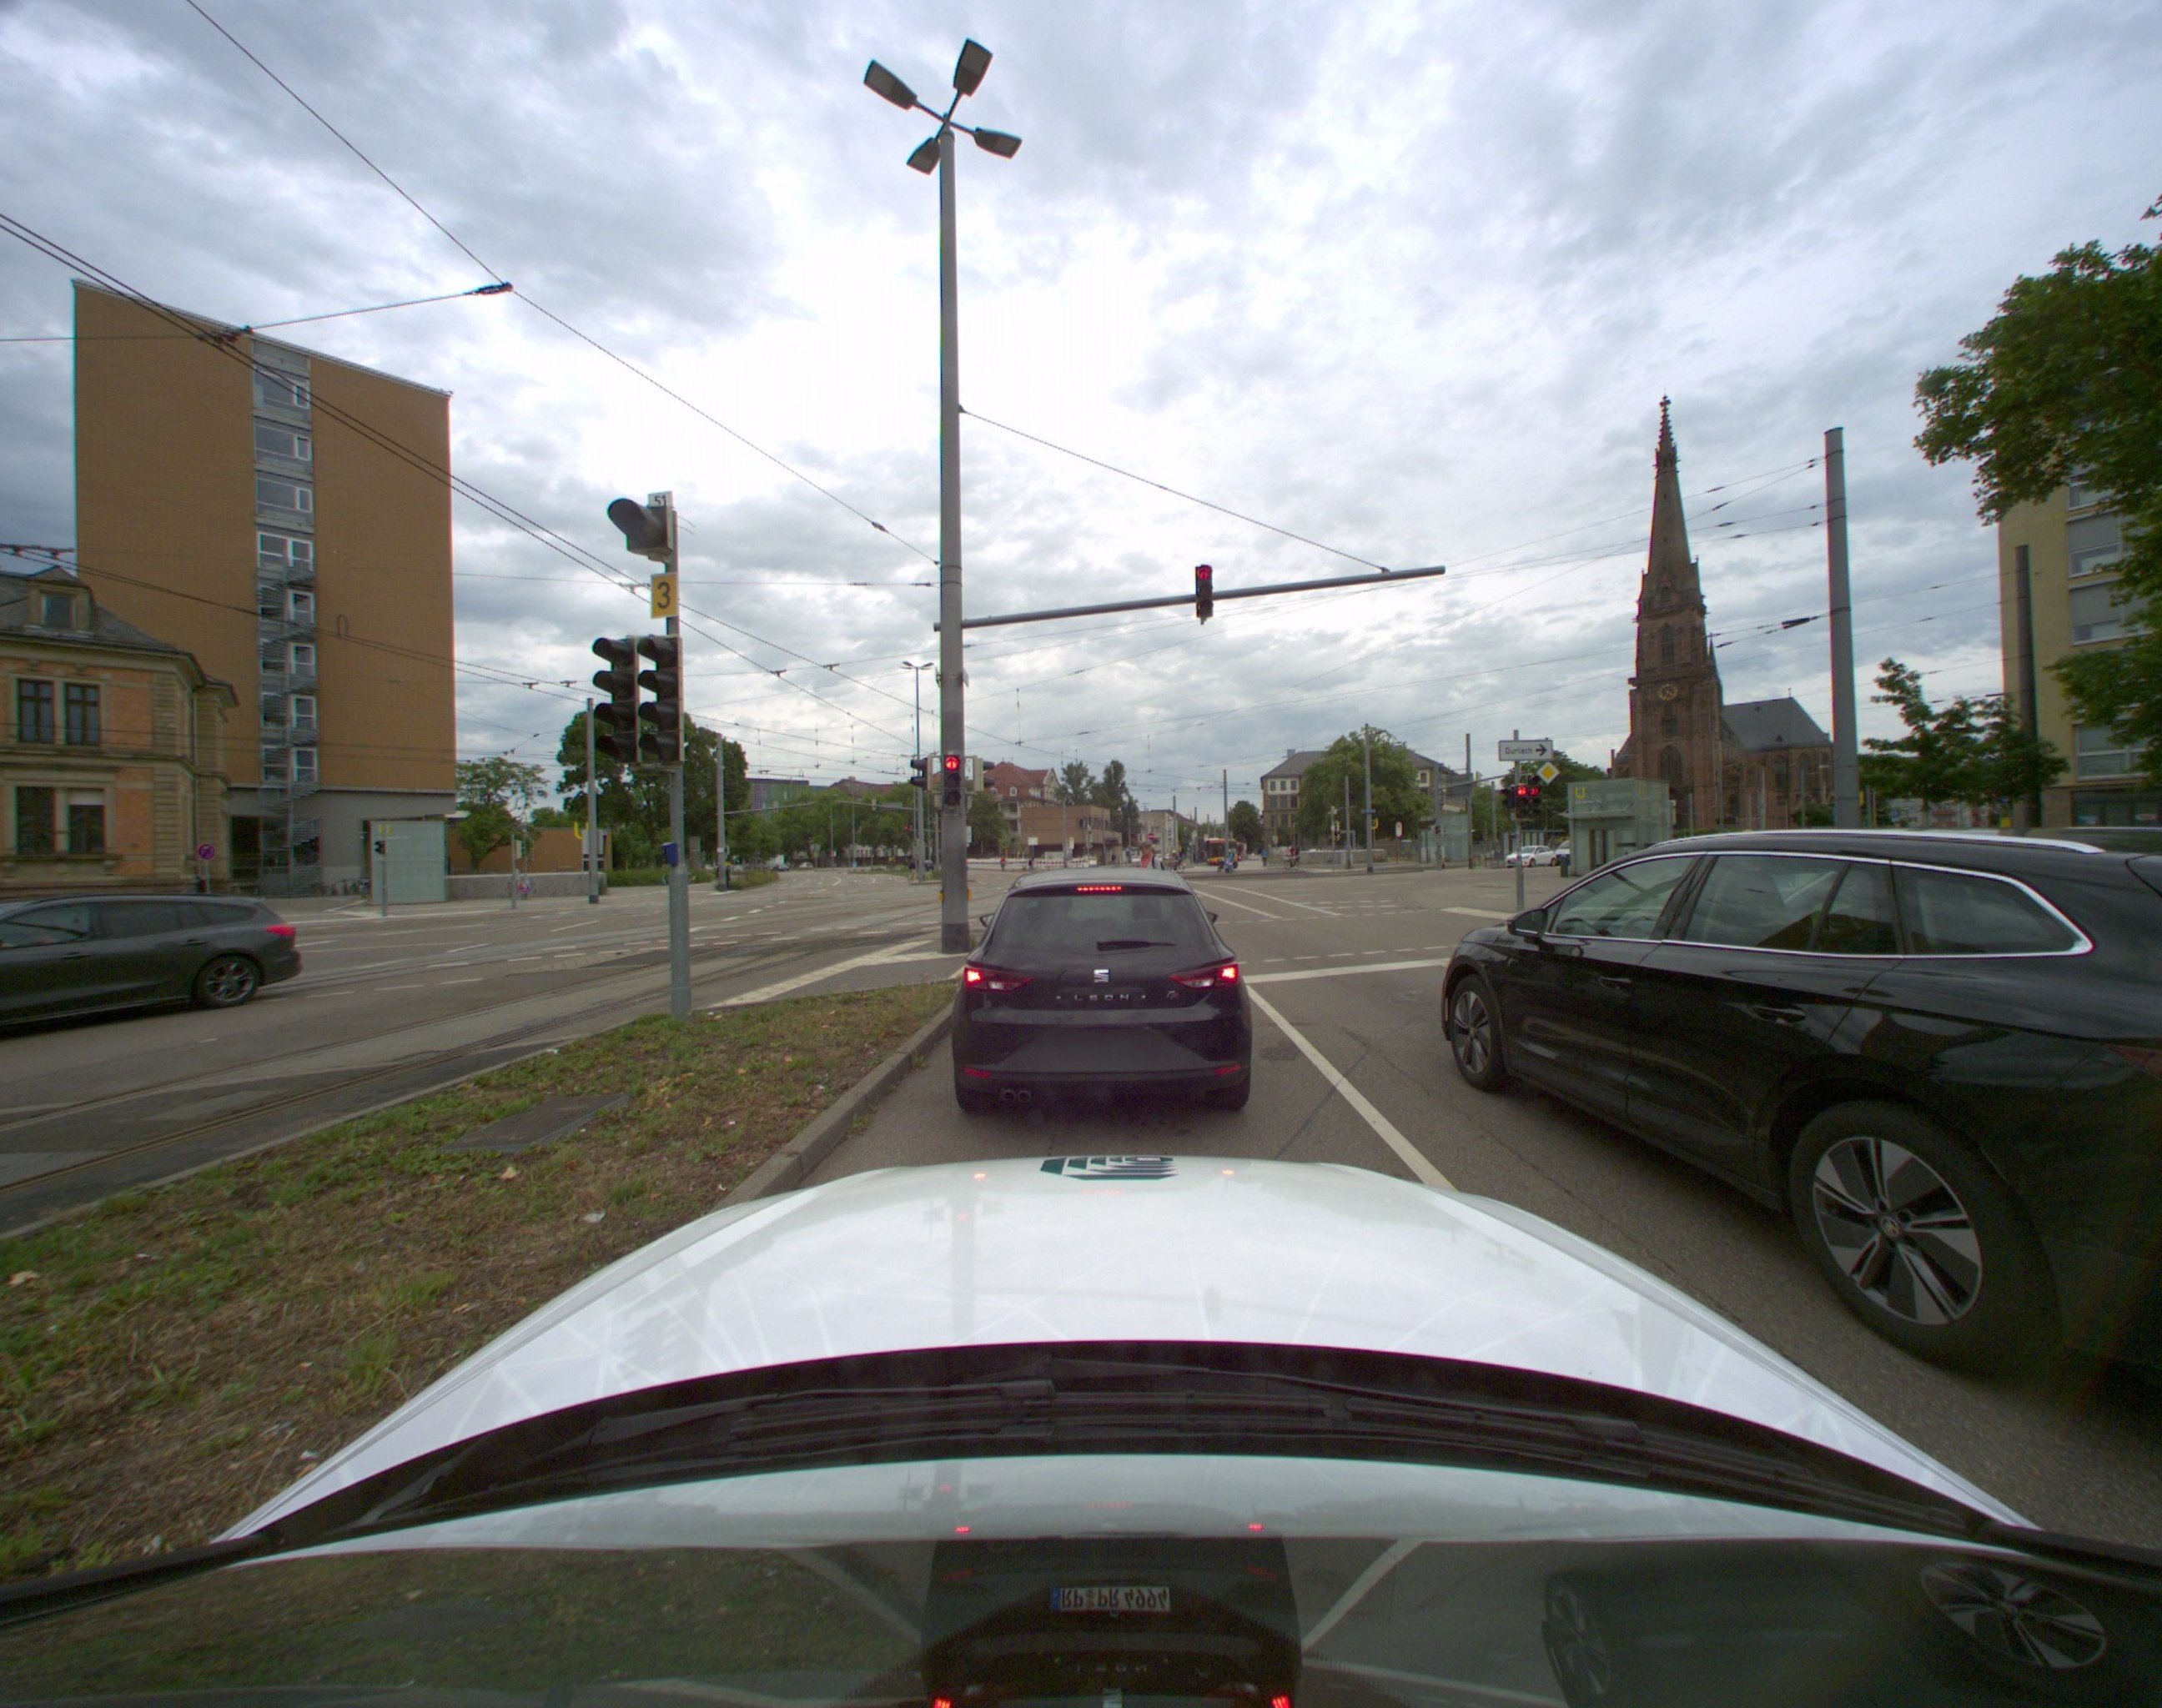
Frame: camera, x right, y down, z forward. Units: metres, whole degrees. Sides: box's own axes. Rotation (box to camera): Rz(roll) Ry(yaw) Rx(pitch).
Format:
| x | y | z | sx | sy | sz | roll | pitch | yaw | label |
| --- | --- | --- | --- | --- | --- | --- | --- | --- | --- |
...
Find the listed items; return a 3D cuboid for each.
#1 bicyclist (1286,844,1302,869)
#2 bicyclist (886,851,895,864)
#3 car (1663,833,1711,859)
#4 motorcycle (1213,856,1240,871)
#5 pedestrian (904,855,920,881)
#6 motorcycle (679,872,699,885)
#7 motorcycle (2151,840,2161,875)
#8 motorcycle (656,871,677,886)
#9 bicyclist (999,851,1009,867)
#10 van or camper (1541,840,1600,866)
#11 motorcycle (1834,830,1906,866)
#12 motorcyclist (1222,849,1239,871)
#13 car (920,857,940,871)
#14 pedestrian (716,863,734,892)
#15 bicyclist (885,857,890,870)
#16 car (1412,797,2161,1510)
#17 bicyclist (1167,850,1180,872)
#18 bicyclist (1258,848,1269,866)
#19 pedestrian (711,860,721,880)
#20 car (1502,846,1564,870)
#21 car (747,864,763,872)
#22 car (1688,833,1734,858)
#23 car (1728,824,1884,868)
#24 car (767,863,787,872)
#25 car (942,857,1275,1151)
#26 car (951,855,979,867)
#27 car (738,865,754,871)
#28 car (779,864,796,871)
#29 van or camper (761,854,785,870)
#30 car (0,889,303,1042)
| x | y | z | sx | sy | sz | roll | pitch | yaw | label |
| --- | --- | --- | --- | --- | --- | --- | --- | --- | --- |
| 16.330 | 0.194 | 62.446 | 1.003 | 1.898 | 0.768 | -1 | -1 | -44 | bicyclist |
| -31.106 | 0.588 | 132.763 | 0.928 | 2.013 | 0.984 | -2 | 0 | 30 | bicyclist |
| 49.706 | -0.630 | 66.751 | 4.017 | 2.013 | 1.978 | -1 | 0 | -36 | car |
| 11.343 | 0.736 | 63.399 | 2.149 | 1.139 | 0.737 | -1 | 0 | -31 | motorcycle |
| -12.675 | 1.057 | 61.158 | 1.032 | 1.934 | 0.695 | -2 | 0 | -24 | pedestrian |
| -34.419 | 2.157 | 71.509 | 0.506 | 1.111 | 1.751 | -2 | 0 | 15 | motorcycle |
| 31.985 | 0.098 | 23.710 | 1.021 | 0.997 | 0.863 | -1 | 0 | -45 | motorcycle |
| -35.447 | 2.073 | 69.604 | 1.481 | 1.268 | 0.505 | -1 | 0 | -44 | motorcycle |
| -8.123 | 0.535 | 86.027 | 0.886 | 1.732 | 0.888 | -1 | 0 | -20 | bicyclist |
| 35.272 | -0.087 | 58.678 | 4.321 | 1.742 | 1.979 | -1 | -2 | -34 | van or camper |
| 26.948 | -0.208 | 27.811 | 2.386 | 1.168 | 0.762 | -1 | 0 | -19 | motorcycle |
| 11.694 | 0.480 | 63.632 | 0.984 | 1.649 | 0.742 | -1 | -1 | -31 | motorcyclist |
| -19.567 | 1.371 | 105.425 | 2.000 | 1.684 | 3.973 | -1 | -1 | -20 | car |
| -25.133 | 1.638 | 57.569 | 1.023 | 2.013 | 0.841 | -1 | 0 | -18 | pedestrian |
| -28.971 | 1.400 | 121.946 | 0.508 | 2.014 | 0.593 | -3 | -2 | 44 | bicyclist |
| 3.318 | 0.654 | 3.771 | 1.771 | 1.597 | 4.510 | -1 | 0 | 1 | car |
| 7.362 | 0.555 | 64.709 | 0.852 | 1.673 | 0.653 | -1 | 0 | -3 | bicyclist |
| 18.909 | 0.292 | 84.406 | 0.869 | 1.851 | 1.046 | -1 | 0 | -4 | bicyclist |
| -36.887 | 1.591 | 82.304 | 0.799 | 1.981 | 0.872 | -1 | -2 | -33 | pedestrian |
| 30.396 | 0.270 | 54.791 | 4.011 | 1.464 | 1.758 | -1 | -2 | -30 | car |
| -68.748 | 2.919 | 171.599 | 1.792 | 1.464 | 3.951 | -1 | 0 | -44 | car |
| 53.569 | -0.722 | 69.189 | 4.017 | 2.013 | 1.978 | -1 | 0 | -36 | car |
| 37.656 | -0.389 | 42.516 | 5.672 | 2.014 | 2.038 | -2 | -2 | 19 | car |
| -54.018 | 2.385 | 144.739 | 1.792 | 1.464 | 3.950 | -1 | 0 | -45 | car |
| 0.086 | 0.774 | 6.108 | 1.700 | 1.449 | 3.809 | -1 | 0 | -2 | car |
| -17.603 | 1.059 | 123.669 | 3.970 | 1.684 | 2.001 | -2 | -1 | 3 | car |
| -73.813 | 3.070 | 179.407 | 3.949 | 1.464 | 1.792 | -1 | 0 | 43 | car |
| -60.843 | 2.789 | 168.597 | 3.950 | 1.464 | 1.792 | -1 | 0 | 45 | car |
| -62.821 | 1.710 | 165.999 | 5.434 | 3.124 | 2.410 | -2 | 0 | 43 | van or camper |
| -11.579 | 1.202 | 8.810 | 1.683 | 1.396 | 4.404 | -2 | 0 | 10 | car |
